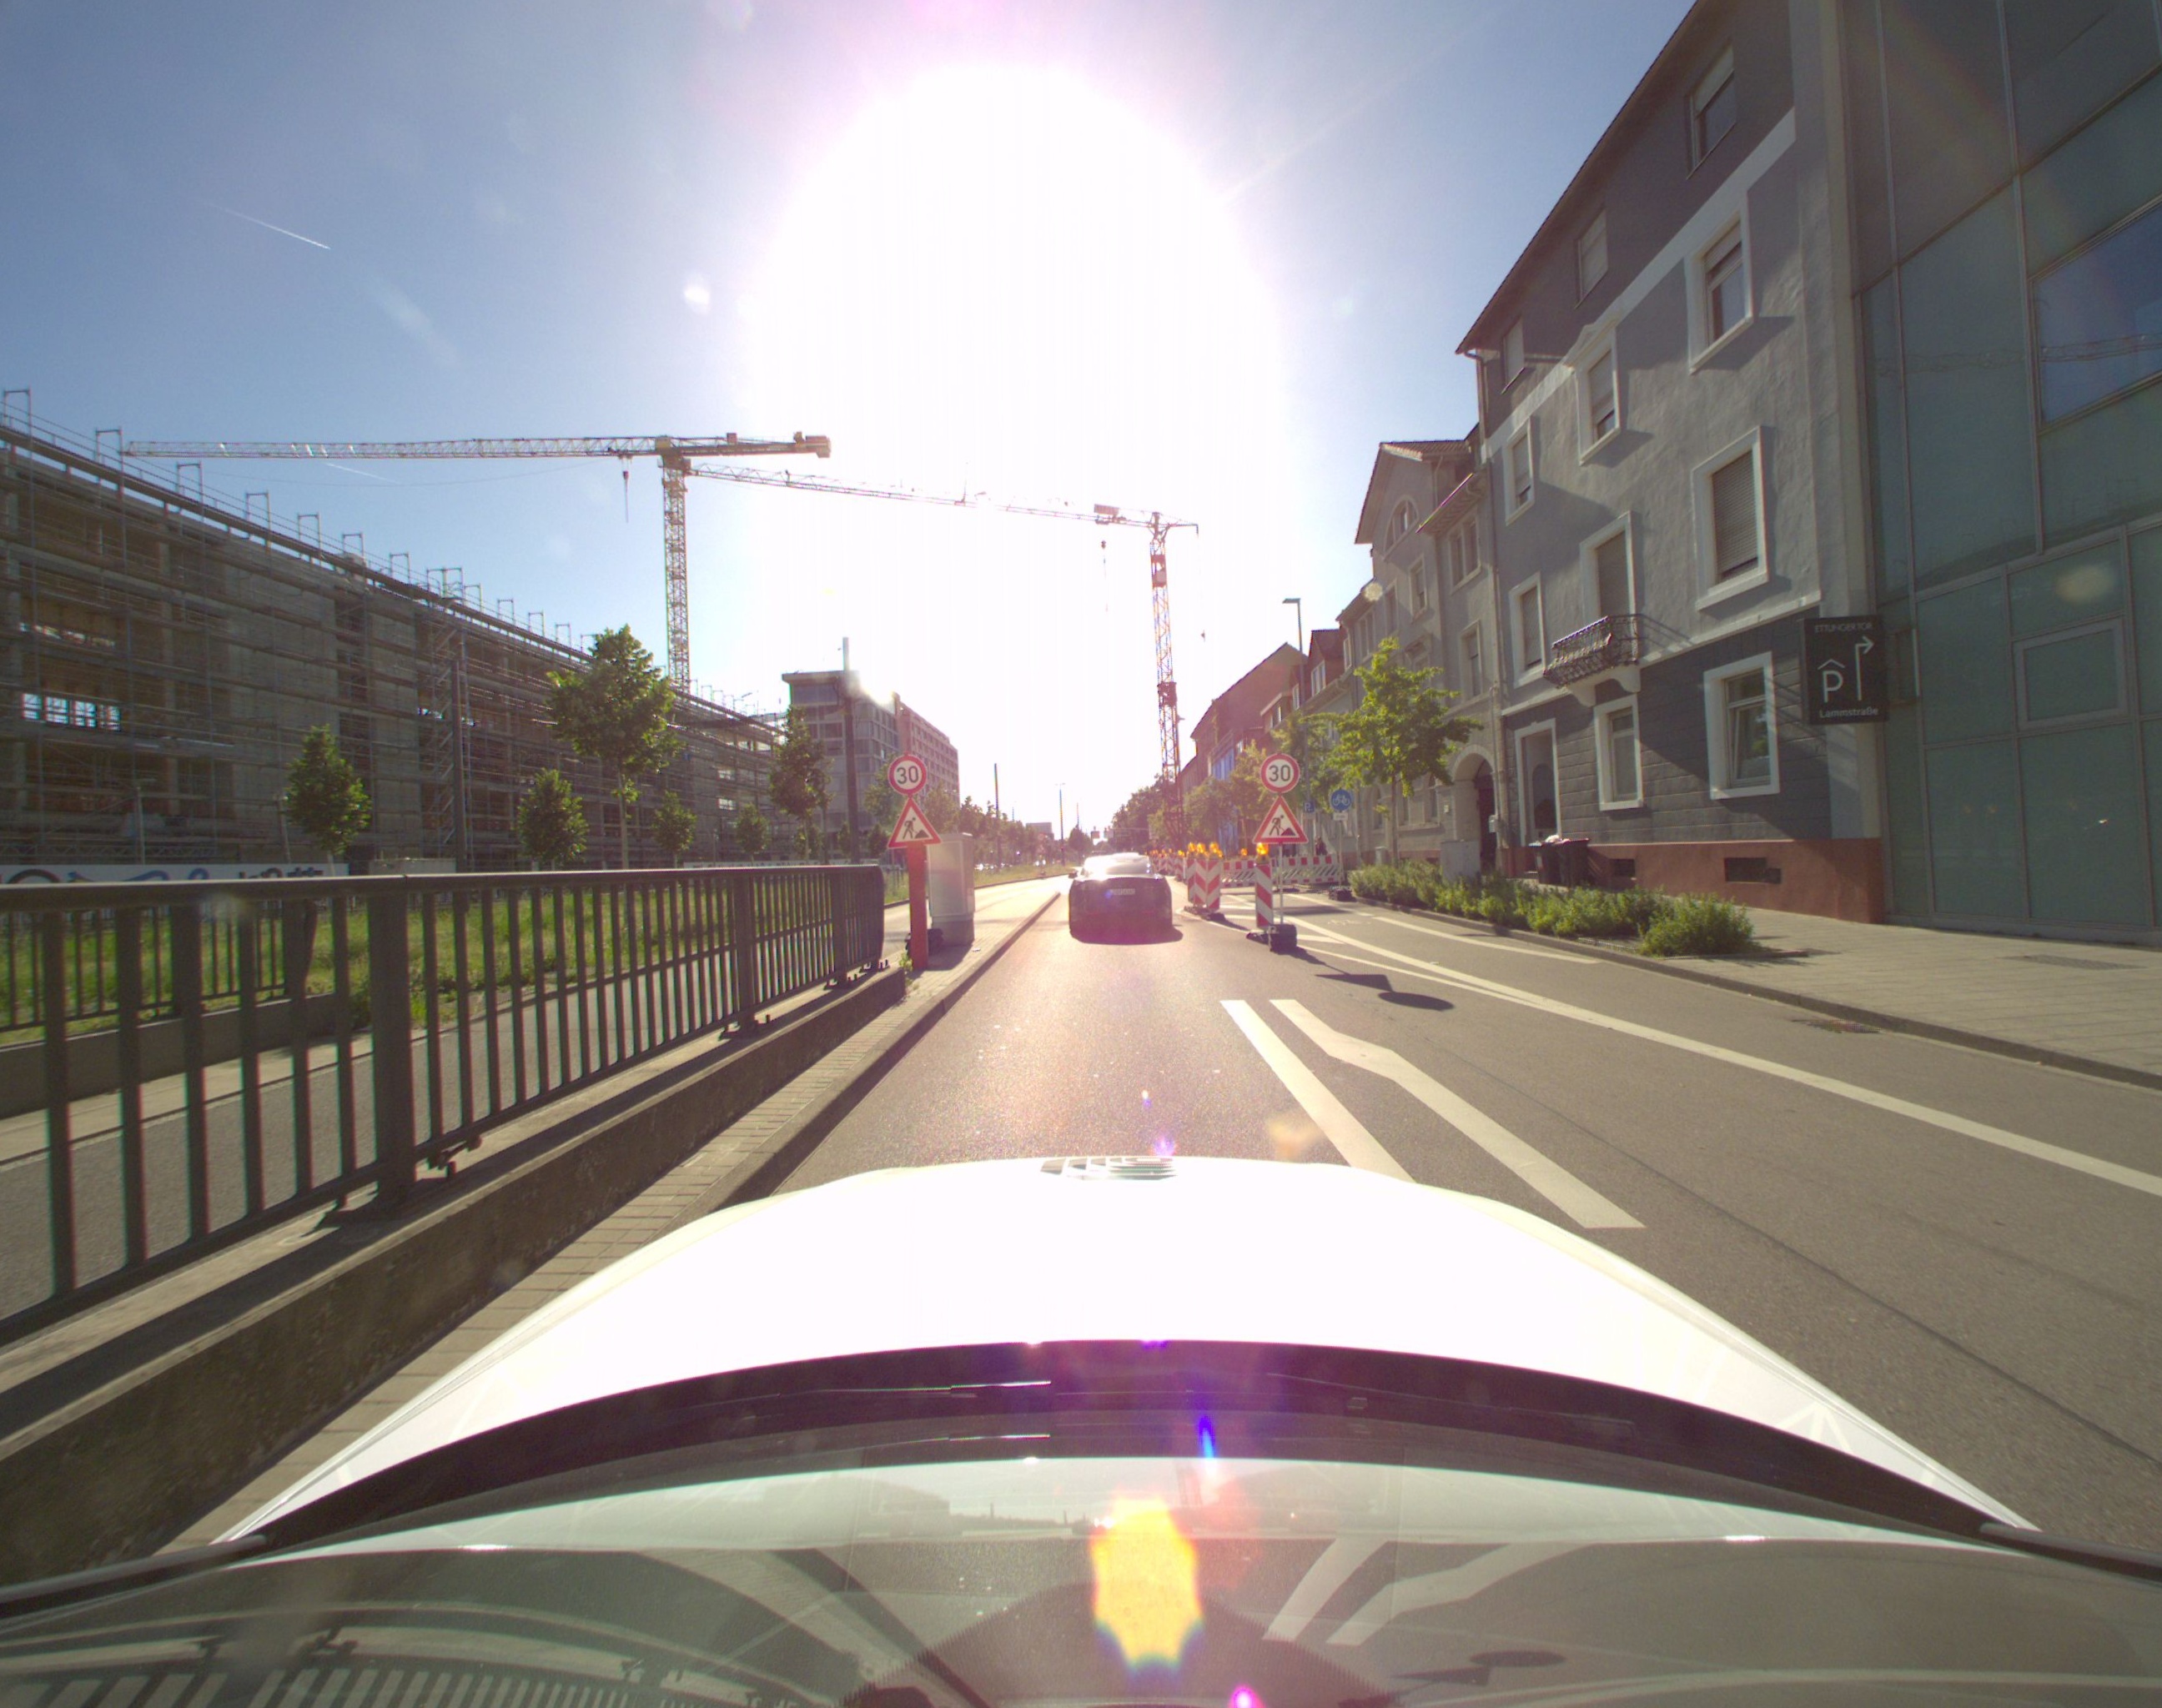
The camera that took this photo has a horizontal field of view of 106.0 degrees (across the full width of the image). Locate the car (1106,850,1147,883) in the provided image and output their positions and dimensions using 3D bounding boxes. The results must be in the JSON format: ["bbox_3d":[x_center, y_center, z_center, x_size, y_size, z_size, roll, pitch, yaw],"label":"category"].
[{"bbox_3d":[2.110,0.571,38.788,1.741,1.427,4.840,-2,0,2],"label":"car"}]

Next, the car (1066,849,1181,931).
[{"bbox_3d":[0.839,0.667,17.013,2.044,1.444,4.526,-1,0,2],"label":"car"}]

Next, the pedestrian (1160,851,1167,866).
[{"bbox_3d":[11.054,0.589,109.117,0.656,1.913,0.587,-6,-1,1],"label":"pedestrian"}]

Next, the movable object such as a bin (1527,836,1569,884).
[{"bbox_3d":[11.177,0.145,19.521,0.586,1.108,0.704,-2,0,3],"label":"movable object such as a bin"}]

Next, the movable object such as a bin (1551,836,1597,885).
[{"bbox_3d":[11.307,0.157,18.700,0.600,1.082,0.704,-2,0,3],"label":"movable object such as a bin"}]

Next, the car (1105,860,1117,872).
[{"bbox_3d":[4.903,1.966,132.743,1.786,1.874,3.849,-1,-1,0],"label":"car"}]

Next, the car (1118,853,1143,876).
[{"bbox_3d":[3.600,0.762,59.665,1.743,1.527,4.007,-2,0,2],"label":"car"}]

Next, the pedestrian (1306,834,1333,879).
[{"bbox_3d":[10.420,0.109,35.658,0.794,1.928,0.766,-2,0,-16],"label":"pedestrian"}]

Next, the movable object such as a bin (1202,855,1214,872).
[{"bbox_3d":[8.341,0.620,53.432,0.593,1.057,0.731,-6,-1,2],"label":"movable object such as a bin"}]

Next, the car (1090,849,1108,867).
[{"bbox_3d":[2.364,0.488,106.993,2.210,2.267,4.484,-1,0,1],"label":"car"}]

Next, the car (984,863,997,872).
[{"bbox_3d":[-17.790,2.561,159.671,1.783,1.651,4.002,-3,-1,2],"label":"car"}]
